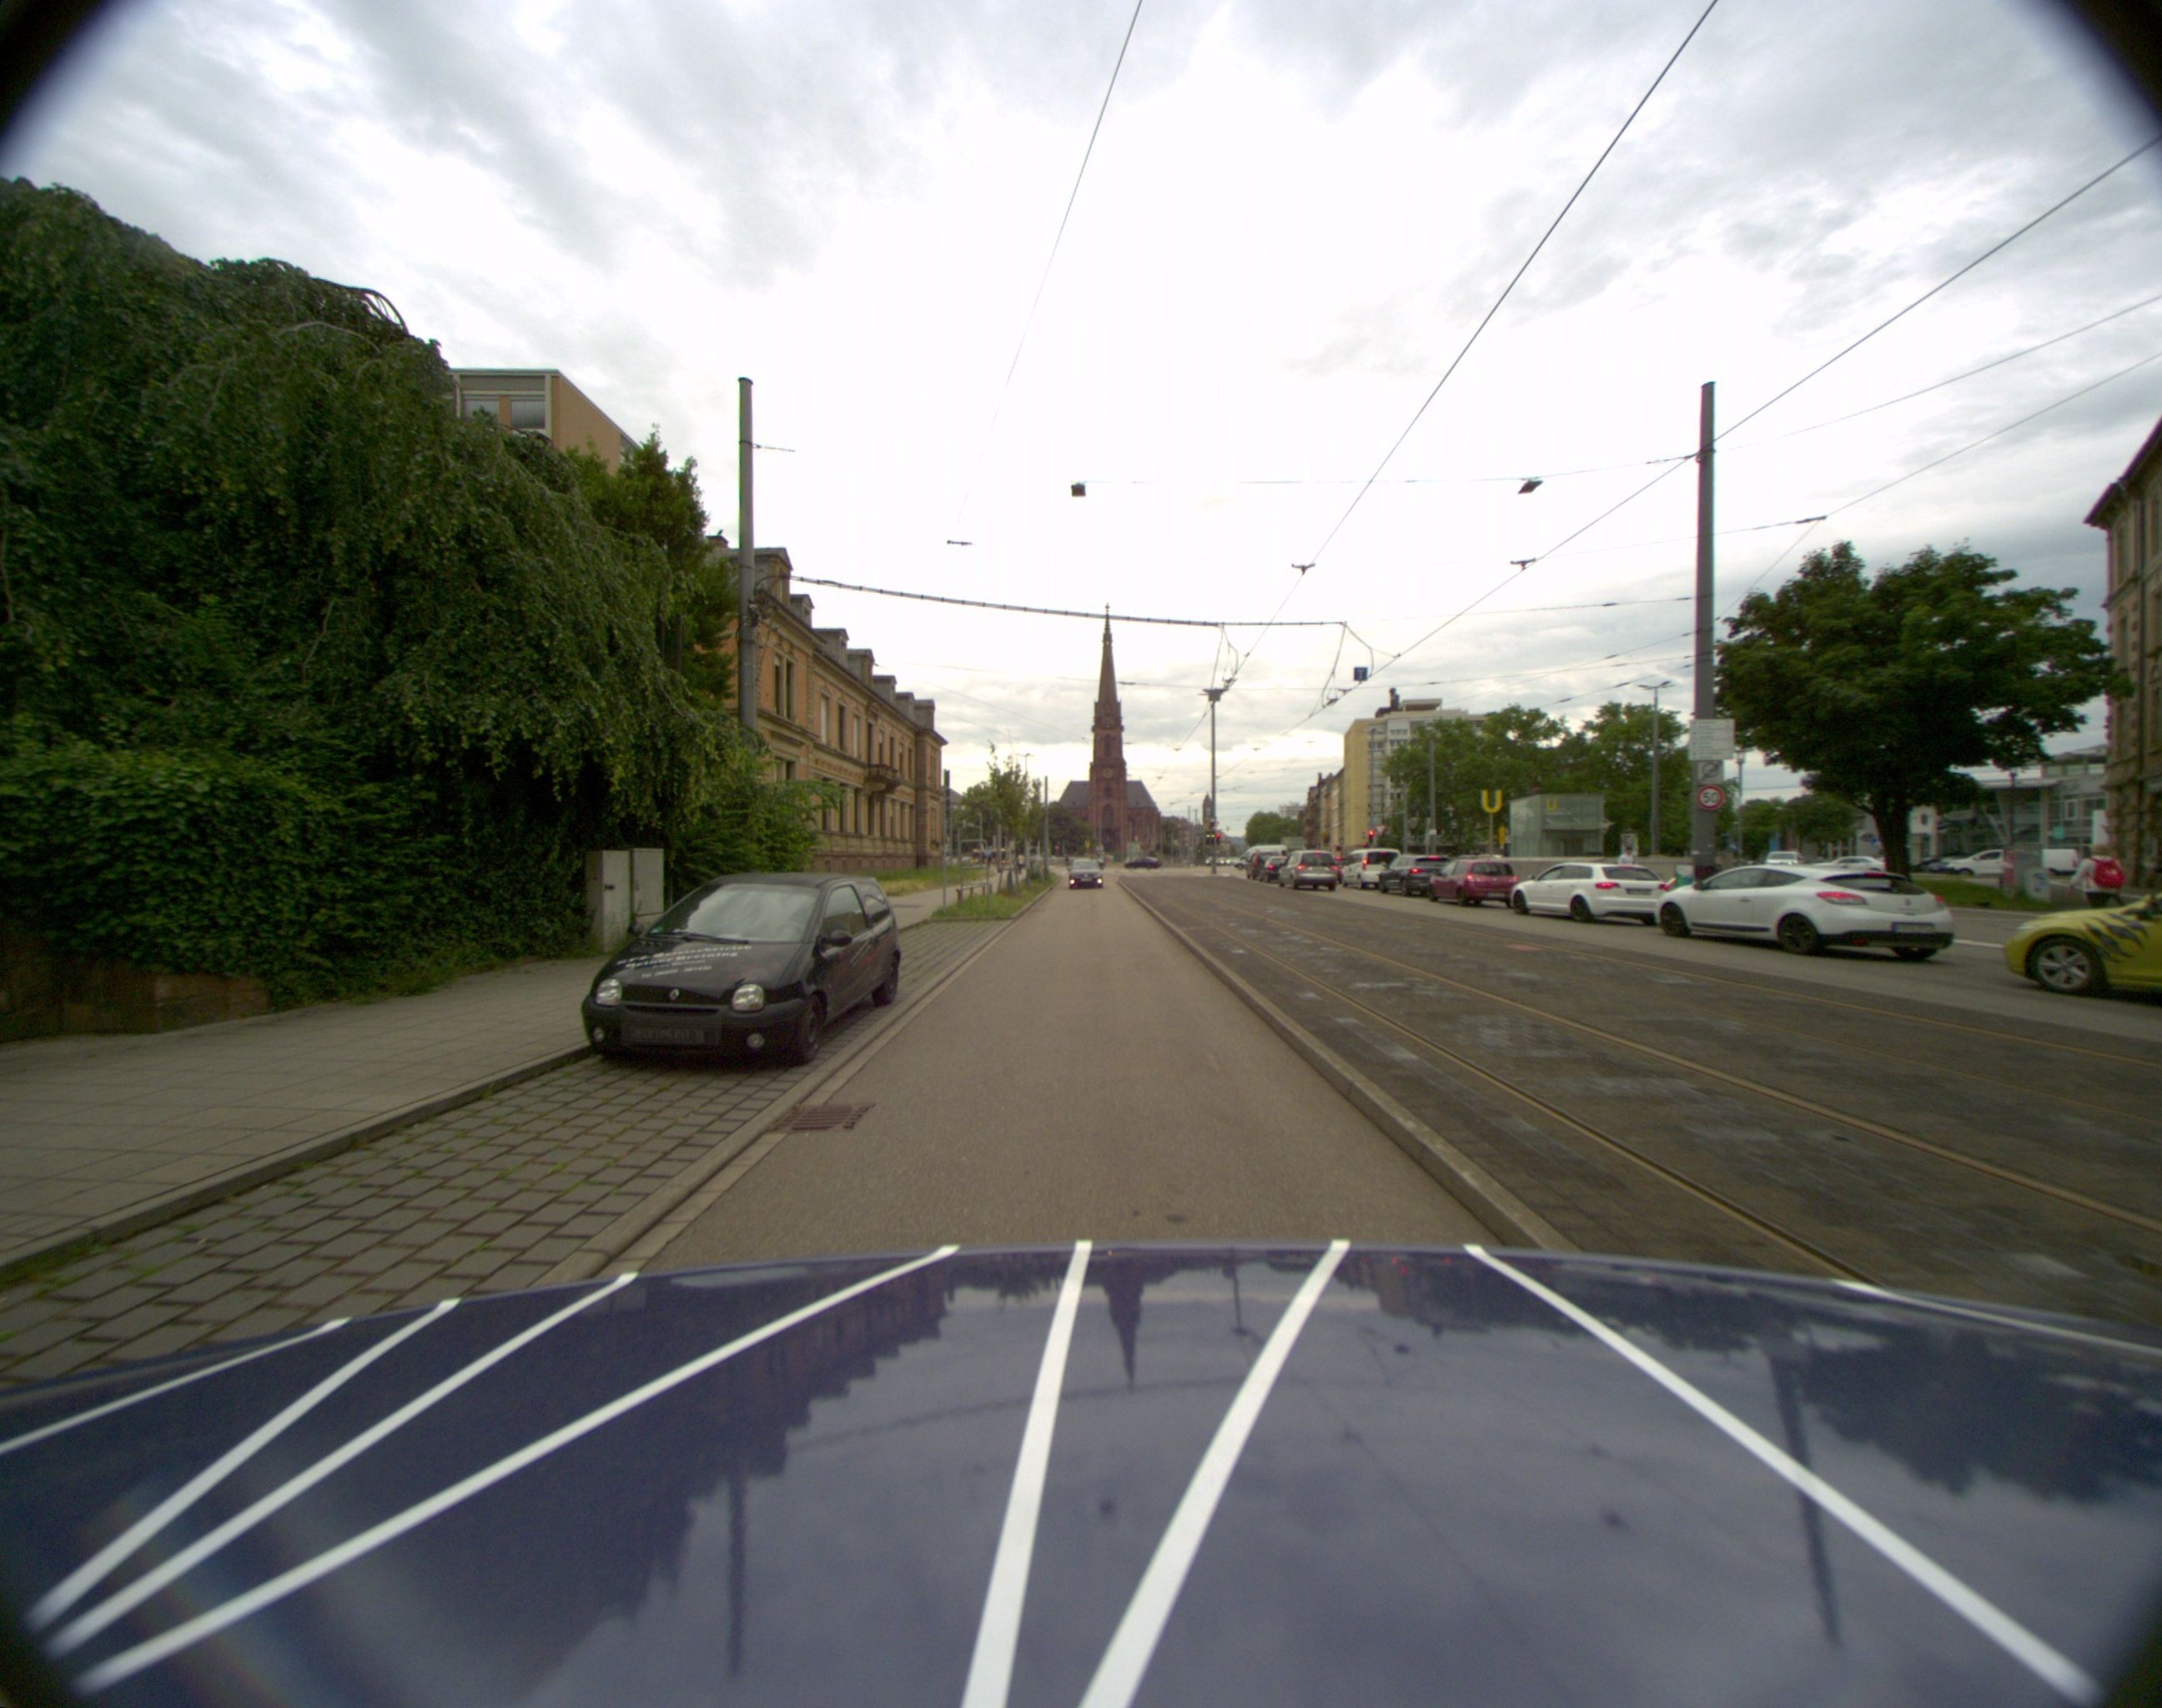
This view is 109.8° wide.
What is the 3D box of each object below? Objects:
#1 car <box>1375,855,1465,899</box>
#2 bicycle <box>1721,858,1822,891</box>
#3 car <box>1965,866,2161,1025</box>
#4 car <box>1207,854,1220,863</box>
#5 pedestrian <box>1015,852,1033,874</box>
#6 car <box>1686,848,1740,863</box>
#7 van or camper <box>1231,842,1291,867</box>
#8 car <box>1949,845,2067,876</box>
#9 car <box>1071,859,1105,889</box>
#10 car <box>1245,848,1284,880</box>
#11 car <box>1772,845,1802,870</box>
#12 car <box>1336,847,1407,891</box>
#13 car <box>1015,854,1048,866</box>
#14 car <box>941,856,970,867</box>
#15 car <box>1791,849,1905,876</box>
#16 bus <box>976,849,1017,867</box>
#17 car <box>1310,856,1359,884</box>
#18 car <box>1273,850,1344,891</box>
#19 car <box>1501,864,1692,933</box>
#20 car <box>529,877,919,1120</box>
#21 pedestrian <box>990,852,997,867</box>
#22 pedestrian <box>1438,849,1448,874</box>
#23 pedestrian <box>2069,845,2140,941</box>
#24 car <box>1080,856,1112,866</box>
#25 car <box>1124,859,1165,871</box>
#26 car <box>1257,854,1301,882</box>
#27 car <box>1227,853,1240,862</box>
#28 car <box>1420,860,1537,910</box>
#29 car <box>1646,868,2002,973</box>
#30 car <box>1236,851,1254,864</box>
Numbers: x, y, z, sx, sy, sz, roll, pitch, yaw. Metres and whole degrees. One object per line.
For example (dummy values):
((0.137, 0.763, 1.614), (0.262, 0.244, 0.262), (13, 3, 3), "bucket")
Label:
((12.996, 0.820, 29.445), (1.867, 1.525, 4.304), (2, 0, 6), "car")
((30.182, 0.856, 33.273), (0.962, 1.346, 3.113), (-1, 1, -31), "bicycle")
((11.263, 0.896, 6.712), (1.903, 1.502, 4.429), (1, 0, 4), "car")
((22.198, 0.699, 127.110), (1.997, 1.433, 4.003), (0, 0, 11), "car")
((-4.883, 0.798, 65.233), (1.283, 1.856, 0.889), (0, 0, 34), "pedestrian")
((58.801, 0.152, 70.728), (1.644, 1.412, 3.727), (0, 0, -42), "car")
((19.976, 0.032, 84.465), (6.034, 2.596, 2.428), (0, 1, 39), "van or camper")
((58.446, 0.408, 47.989), (2.003, 1.828, 4.511), (0, 0, -33), "car")
((0.321, 0.980, 38.551), (1.655, 1.404, 4.000), (0, 0, 0), "car")
((11.325, 0.611, 47.216), (1.692, 1.889, 4.388), (0, 0, 5), "car")
((58.353, 0.256, 62.848), (1.766, 2.002, 4.008), (1, 1, 43), "car")
((13.646, 0.672, 35.989), (1.867, 1.905, 5.103), (0, 0, 6), "car")
((-6.869, 0.845, 105.802), (4.048, 1.483, 2.005), (-2, -4, 27), "car")
((-17.931, 1.028, 108.828), (3.617, 1.484, 2.001), (0, 1, 6), "car")
((54.312, 0.576, 53.905), (2.168, 1.845, 5.433), (0, 0, -35), "car")
((-16.016, 0.705, 142.514), (2.869, 3.059, 11.990), (-1, 1, -31), "bus")
((13.908, 0.846, 41.908), (1.692, 1.433, 4.001), (0, 0, 5), "car")
((10.134, 0.701, 34.182), (1.867, 1.696, 4.910), (1, 0, 2), "car")
((12.289, 0.979, 18.532), (1.751, 1.372, 4.363), (2, 0, 2), "car")
((-2.761, 1.008, 6.943), (1.641, 1.425, 3.931), (2, 0, 0), "car")
((-11.511, 0.716, 100.056), (0.782, 1.932, 0.980), (0, 0, -22), "pedestrian")
((25.297, 0.519, 53.080), (0.601, 1.718, 0.914), (0, 0, 26), "pedestrian")
((18.663, 0.694, 13.868), (0.533, 1.709, 0.631), (0, 0, -18), "pedestrian")
((1.963, 0.923, 99.074), (3.729, 1.239, 1.694), (0, 0, 21), "car")
((7.785, 1.382, 92.891), (4.648, 1.412, 2.004), (0, 0, 36), "car")
((10.743, 0.748, 41.507), (1.692, 1.433, 4.001), (0, 0, 5), "car")
((25.344, 0.530, 126.434), (1.997, 1.433, 4.003), (0, 0, 11), "car")
((12.436, 0.923, 24.087), (1.867, 1.391, 3.896), (2, 0, 4), "car")
((11.838, 0.962, 12.633), (1.931, 1.372, 4.259), (0, 0, 4), "car")
((23.923, 0.474, 110.883), (1.921, 1.871, 5.090), (0, 1, 5), "car")
